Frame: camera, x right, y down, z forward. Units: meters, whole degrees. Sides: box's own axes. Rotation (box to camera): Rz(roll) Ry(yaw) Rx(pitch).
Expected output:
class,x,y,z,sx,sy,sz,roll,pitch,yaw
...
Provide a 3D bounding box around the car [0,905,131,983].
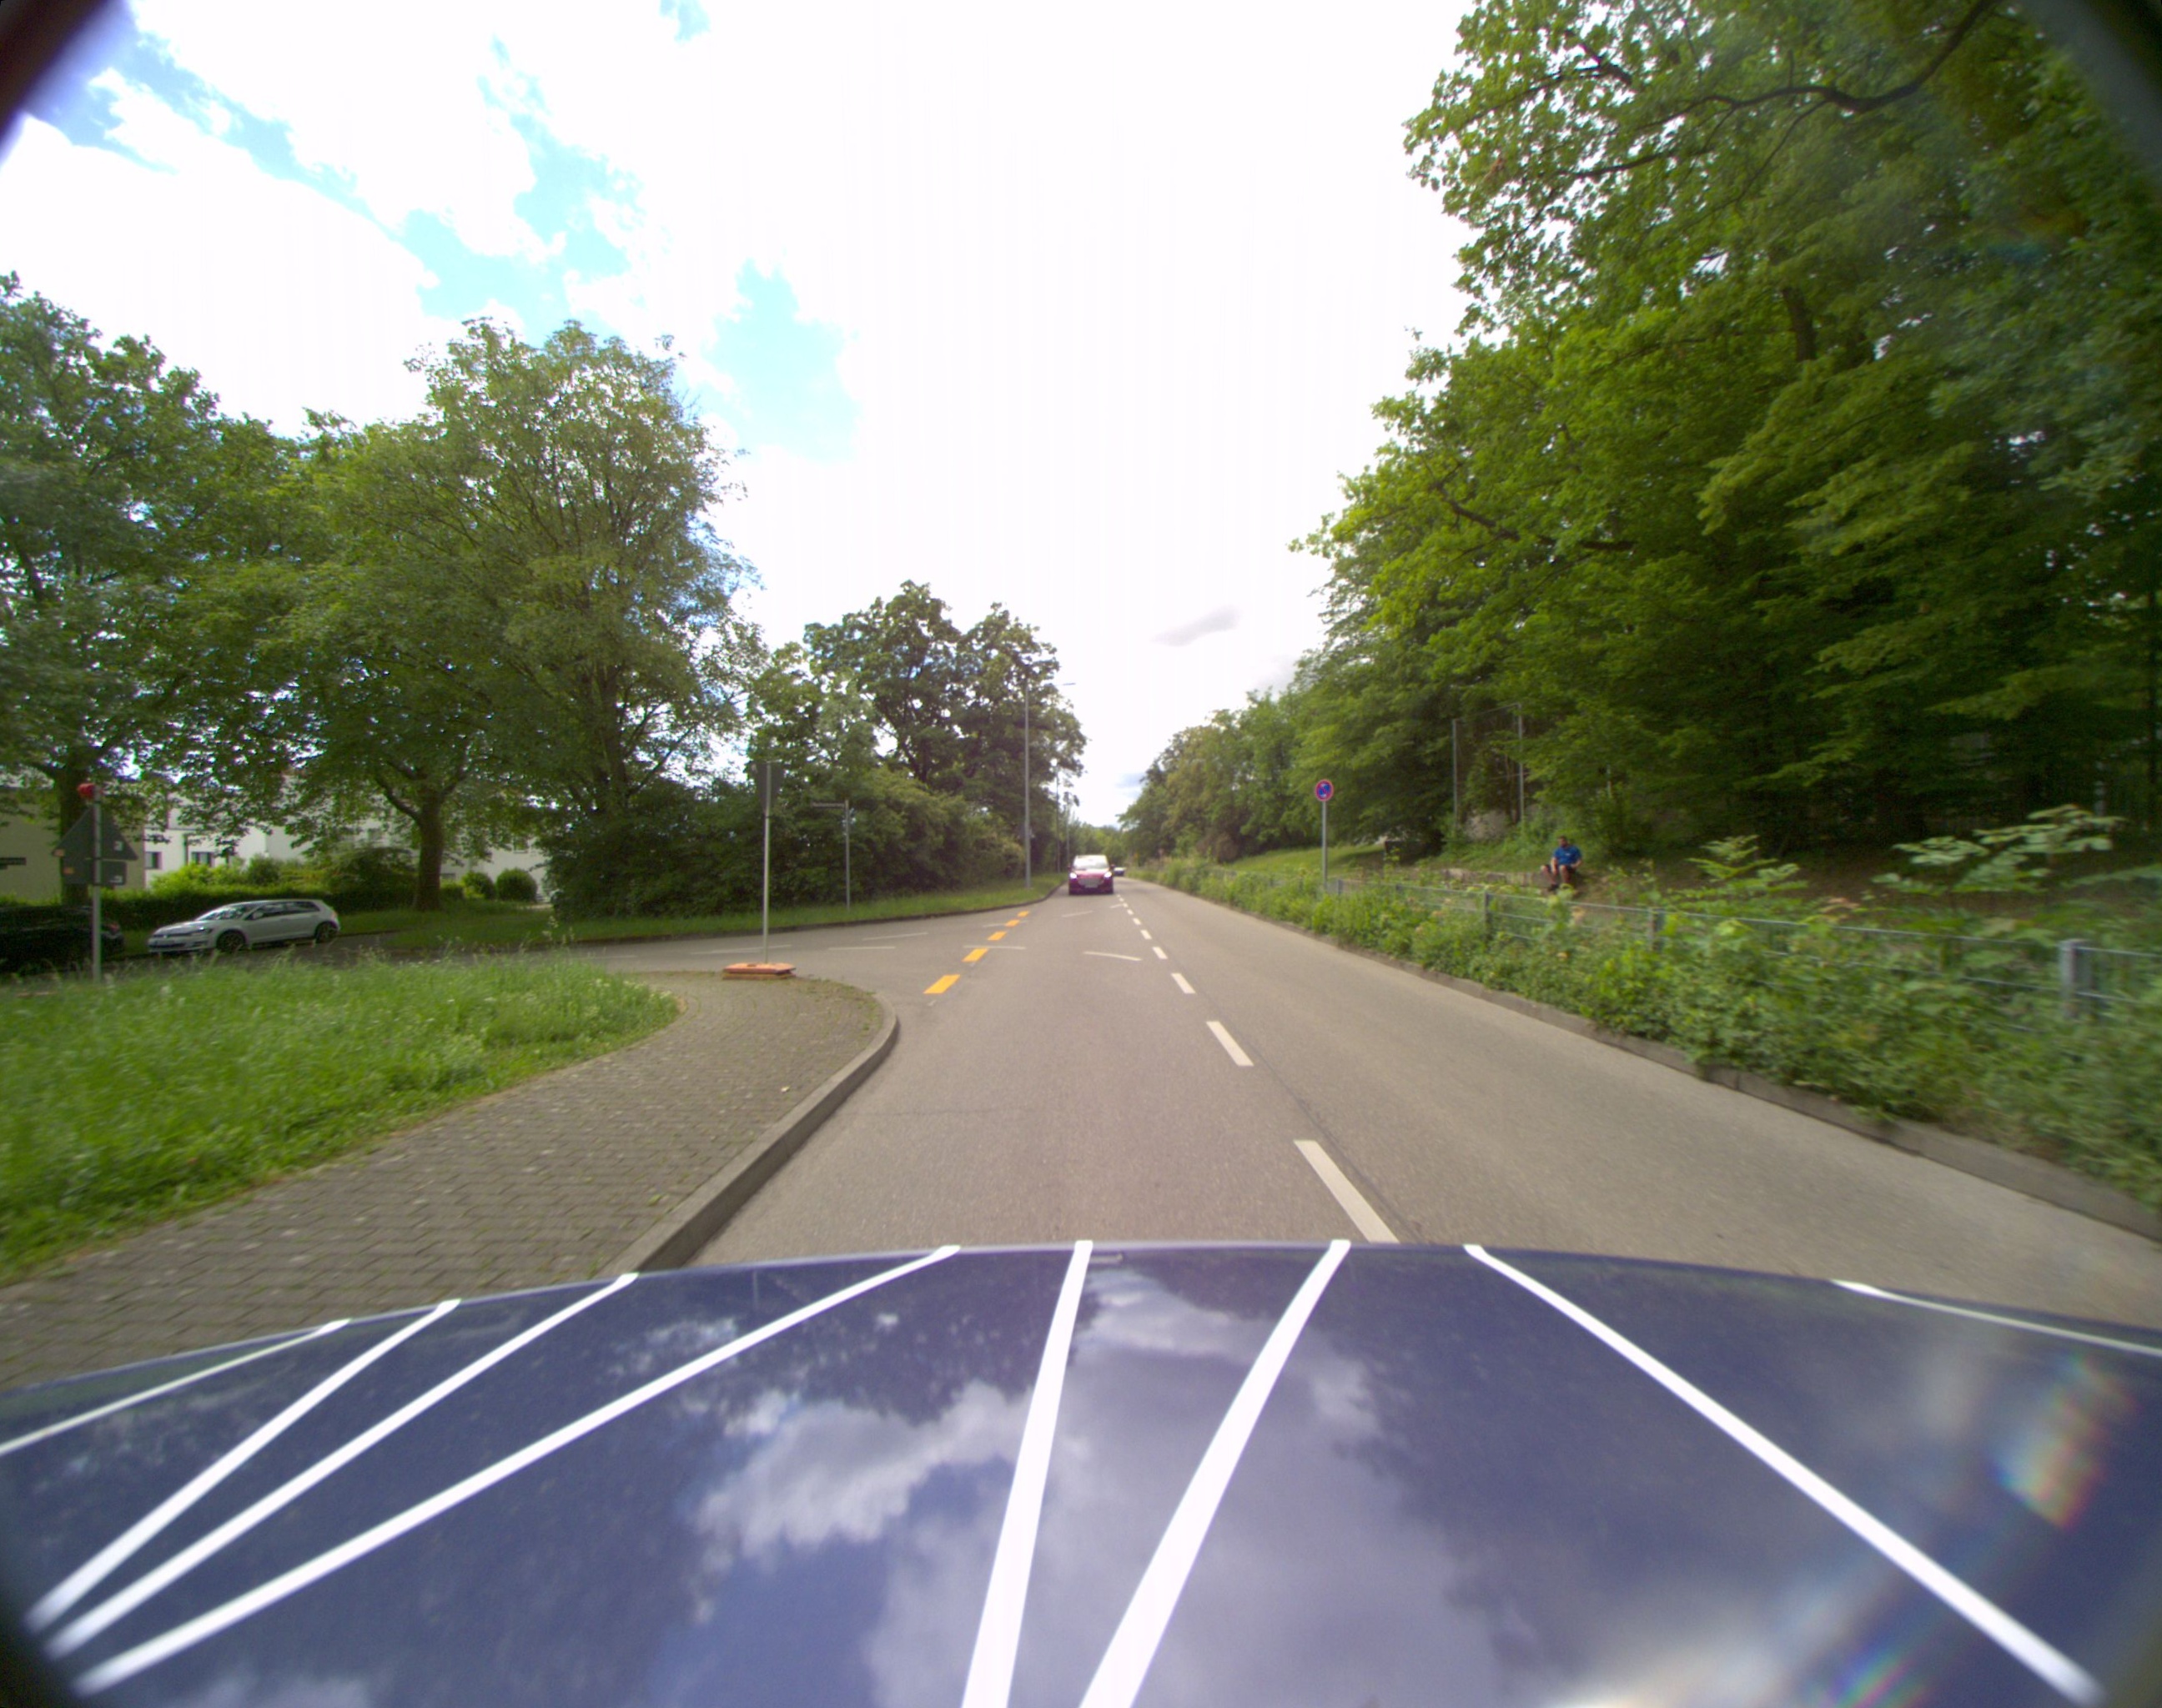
class,x,y,z,sx,sy,sz,roll,pitch,yaw
car,-25.304,2.105,17.221,1.897,1.608,4.446,-1,0,1

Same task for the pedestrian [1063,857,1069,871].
class,x,y,z,sx,sy,sz,roll,pitch,yaw
pedestrian,-1.902,1.257,95.833,0.675,1.825,0.605,-1,0,-6

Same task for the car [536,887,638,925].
class,x,y,z,sx,sy,sz,roll,pitch,yaw
car,-29.156,3.053,44.980,4.658,2.002,2.000,-1,0,-1

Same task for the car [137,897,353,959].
class,x,y,z,sx,sy,sz,roll,pitch,yaw
car,-25.100,2.168,23.088,1.826,1.477,4.244,-1,0,1

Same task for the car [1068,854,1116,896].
class,x,y,z,sx,sy,sz,roll,pitch,yaw
car,0.510,0.849,32.255,1.861,1.608,4.477,-2,0,2

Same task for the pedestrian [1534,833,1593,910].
class,x,y,z,sx,sy,sz,roll,pitch,yaw
pedestrian,10.693,0.386,16.858,0.762,1.653,0.809,-1,0,-1

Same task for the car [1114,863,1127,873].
class,x,y,z,sx,sy,sz,roll,pitch,yaw
car,5.525,1.943,105.908,1.620,1.324,4.001,-1,-1,1
